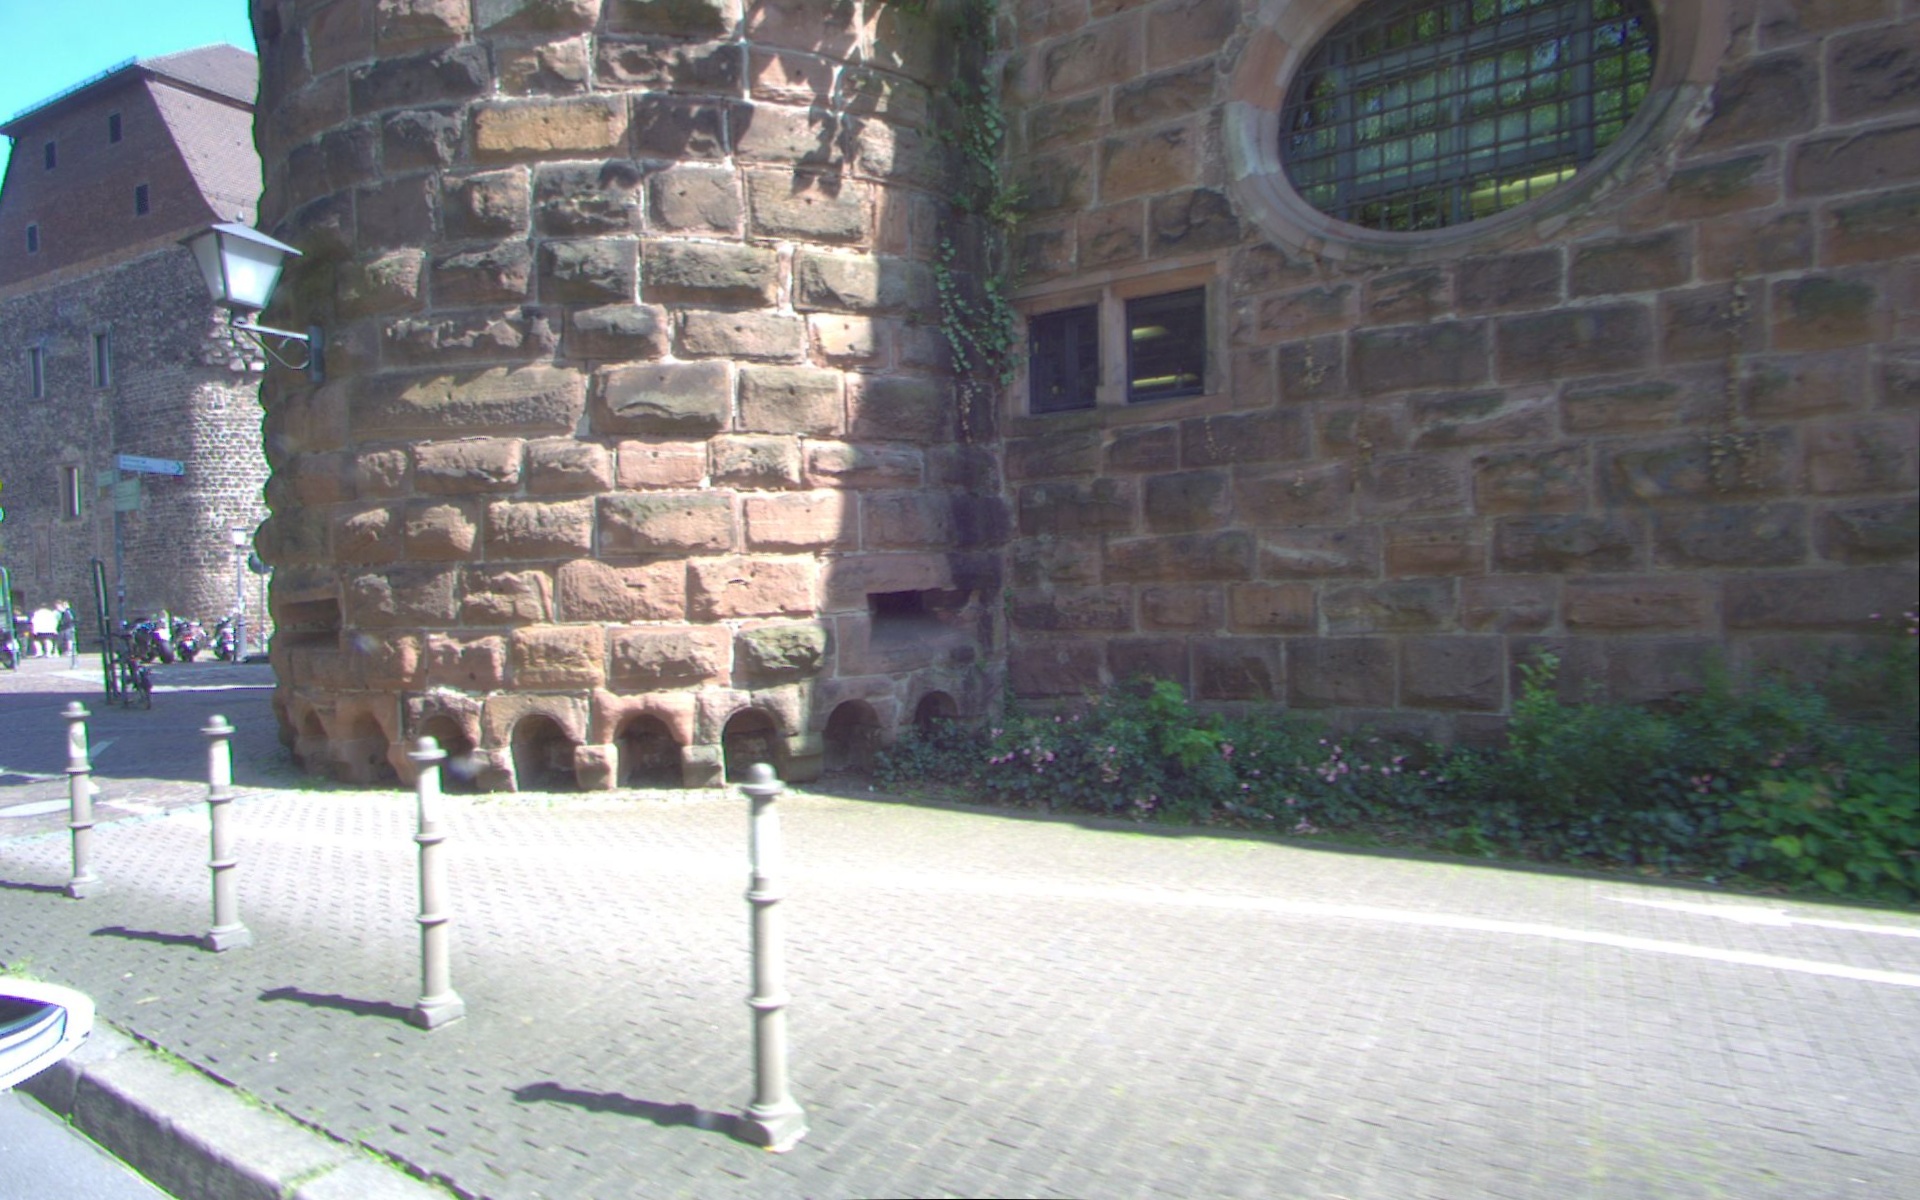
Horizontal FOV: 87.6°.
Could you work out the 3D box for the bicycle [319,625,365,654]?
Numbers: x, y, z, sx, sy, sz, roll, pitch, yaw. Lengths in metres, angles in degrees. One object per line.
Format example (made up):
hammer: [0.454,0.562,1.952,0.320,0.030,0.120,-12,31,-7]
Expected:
bicycle: [-18.224,1.163,29.513,1.898,0.831,0.353,0,-1,32]

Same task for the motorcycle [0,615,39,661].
motorcycle: [-22.007,0.860,23.024,2.453,1.026,0.565,-1,1,32]

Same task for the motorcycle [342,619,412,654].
motorcycle: [-18.153,1.139,31.211,0.474,1.067,1.858,-2,-2,40]

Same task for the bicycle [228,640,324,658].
bicycle: [-17.513,1.249,25.662,1.916,0.386,0.909,0,-2,-44]

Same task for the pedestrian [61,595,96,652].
pedestrian: [-31.611,0.853,35.924,0.865,2.039,0.729,-1,-1,32]

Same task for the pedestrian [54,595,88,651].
pedestrian: [-31.133,0.819,35.059,0.809,1.944,0.667,-1,-1,31]

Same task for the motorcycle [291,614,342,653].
motorcycle: [-18.051,0.950,28.079,1.814,1.086,0.506,-2,-2,32]

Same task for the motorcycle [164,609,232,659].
motorcycle: [-20.028,0.902,26.318,2.280,1.251,0.674,-2,-2,32]

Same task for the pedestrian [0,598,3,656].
pedestrian: [-32.385,0.899,33.260,0.742,1.914,0.745,-1,-2,35]

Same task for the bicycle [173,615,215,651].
bicycle: [-26.531,1.153,34.681,1.691,1.225,0.388,-1,-1,24]

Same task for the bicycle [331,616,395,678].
bicycle: [-11.829,0.914,19.831,1.707,1.178,0.445,0,1,36]

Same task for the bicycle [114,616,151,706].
bicycle: [-11.872,0.851,14.357,1.750,1.220,0.192,0,0,44]

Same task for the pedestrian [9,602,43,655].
pedestrian: [-32.433,0.982,34.772,0.835,1.826,0.651,-1,0,31]

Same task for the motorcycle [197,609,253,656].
motorcycle: [-20.020,0.900,27.252,2.002,1.251,0.545,-2,-2,32]

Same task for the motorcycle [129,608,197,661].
motorcycle: [-20.260,0.881,25.440,2.169,1.282,0.654,-2,-1,32]

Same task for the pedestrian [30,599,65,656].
pedestrian: [-31.047,0.928,34.062,0.809,1.908,0.667,-1,-1,31]
